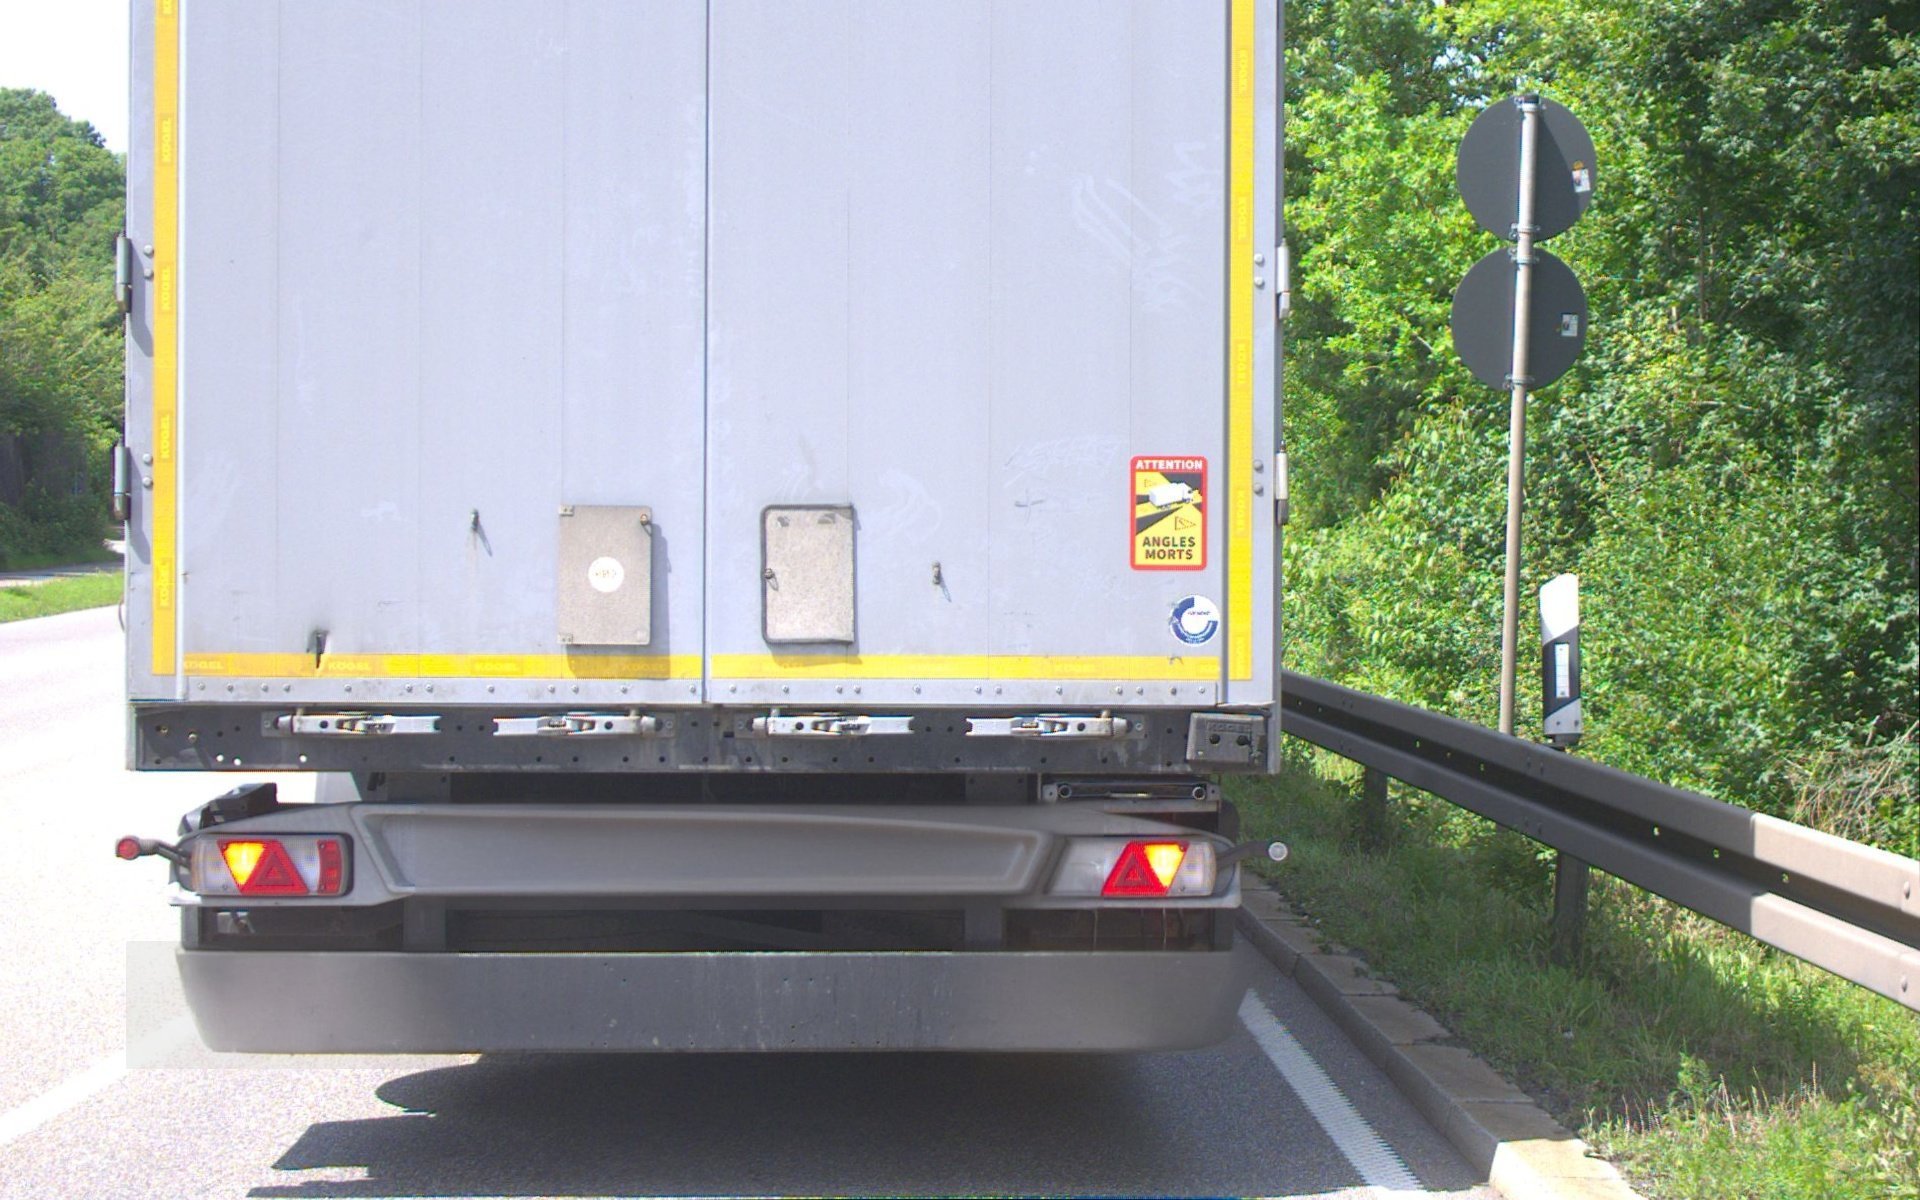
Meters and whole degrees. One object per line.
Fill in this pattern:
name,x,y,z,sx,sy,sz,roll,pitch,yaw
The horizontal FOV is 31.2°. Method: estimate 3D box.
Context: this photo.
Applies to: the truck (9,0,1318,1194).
truck,-0.760,-0.878,13.236,2.757,4.016,11.925,0,1,-1
